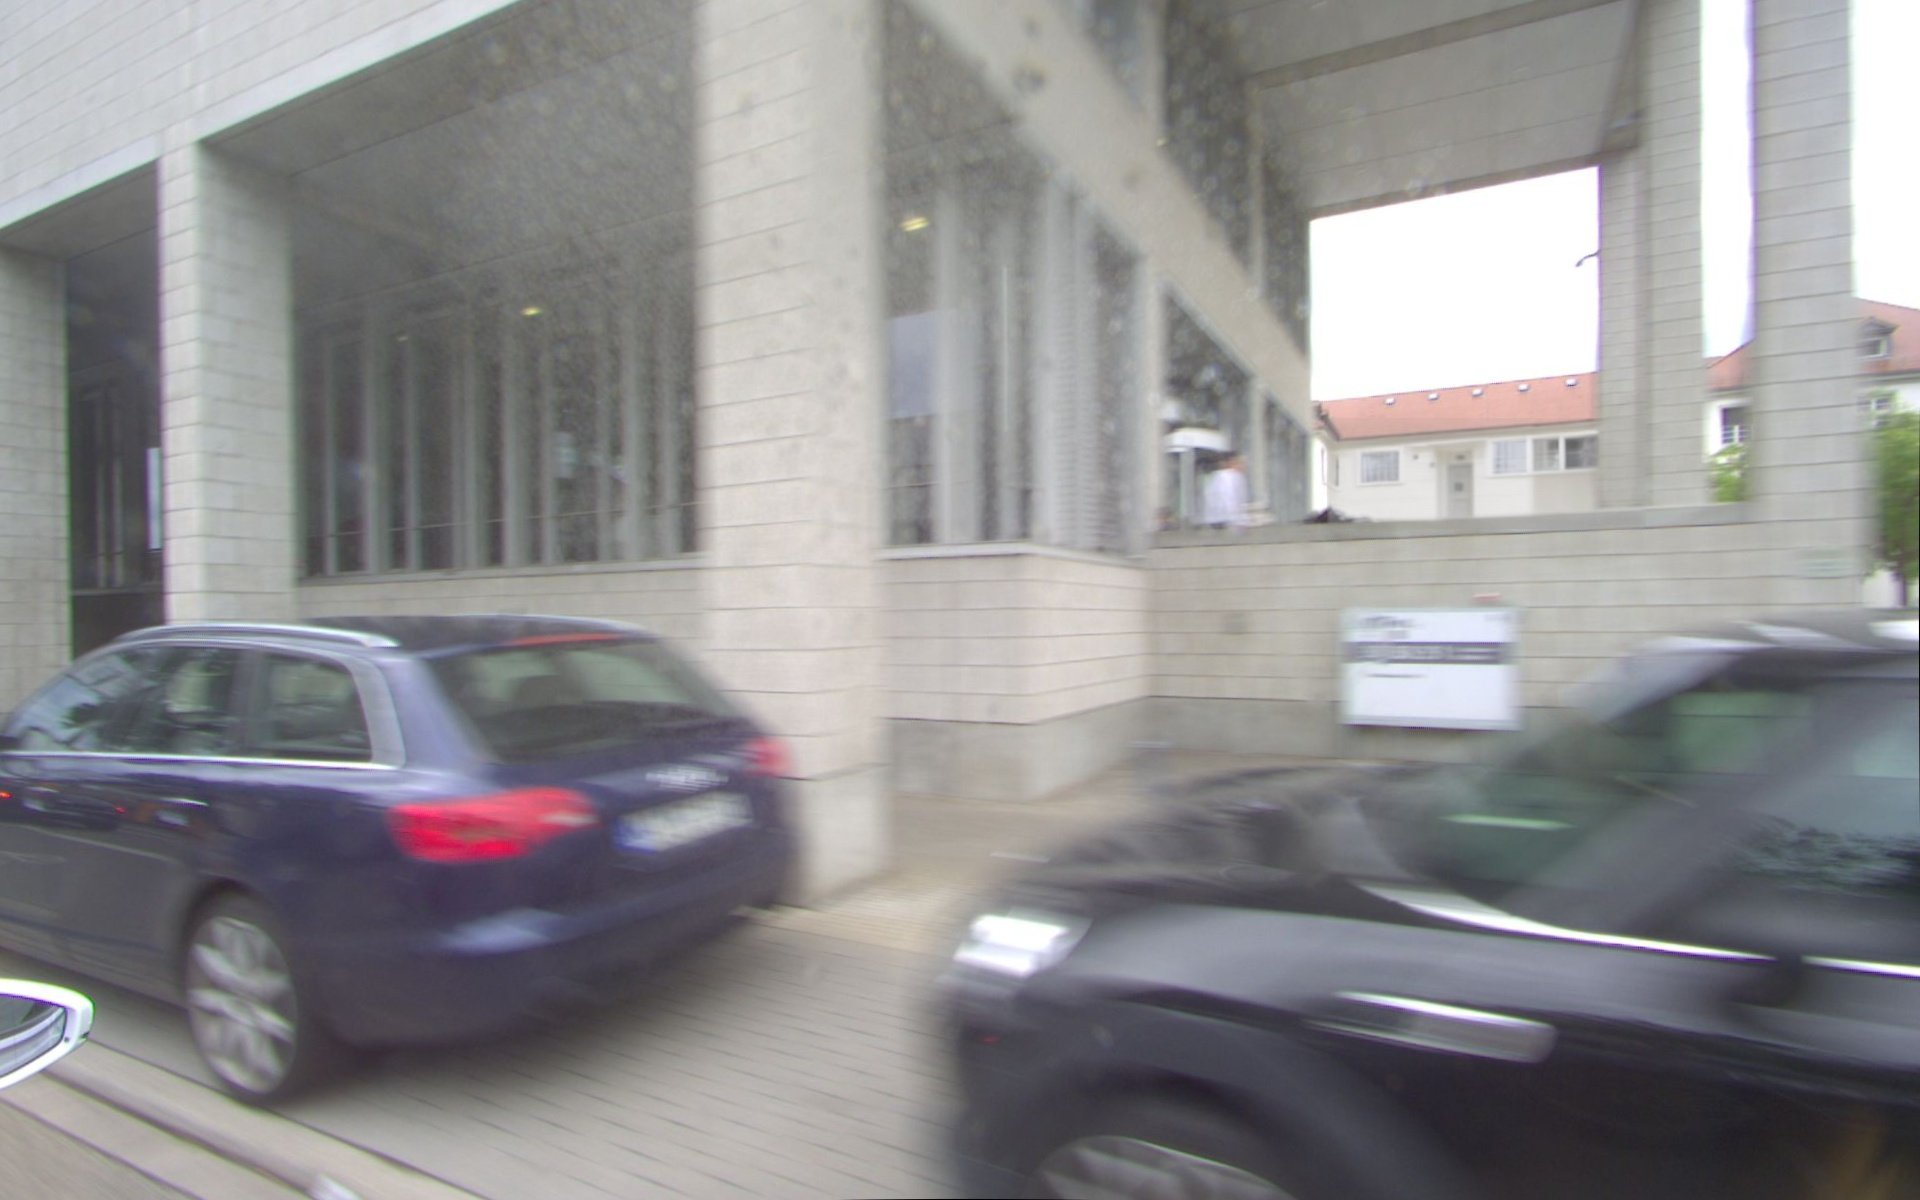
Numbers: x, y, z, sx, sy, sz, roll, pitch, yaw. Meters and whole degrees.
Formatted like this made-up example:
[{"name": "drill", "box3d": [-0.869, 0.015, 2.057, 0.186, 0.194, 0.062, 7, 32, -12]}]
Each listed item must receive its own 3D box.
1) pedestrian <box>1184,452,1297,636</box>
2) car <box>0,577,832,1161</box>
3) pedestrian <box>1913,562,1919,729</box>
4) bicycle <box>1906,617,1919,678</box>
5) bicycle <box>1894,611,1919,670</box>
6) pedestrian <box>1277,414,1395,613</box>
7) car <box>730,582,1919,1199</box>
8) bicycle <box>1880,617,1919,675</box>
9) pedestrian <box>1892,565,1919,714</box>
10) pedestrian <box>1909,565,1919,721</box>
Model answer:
[{"name": "pedestrian", "box3d": [2.710, -0.510, 9.687, 0.798, 1.680, 0.626, 2, 0, 44]}, {"name": "car", "box3d": [-3.149, 0.735, 4.554, 4.846, 1.471, 1.992, -1, -1, 28]}, {"name": "pedestrian", "box3d": [10.927, 0.503, 10.936, 0.610, 1.863, 0.591, 1, -3, 29]}, {"name": "bicycle", "box3d": [20.297, 0.983, 19.153, 3.060, 1.185, 0.745, 2, 0, 30]}, {"name": "bicycle", "box3d": [20.686, 0.864, 19.839, 3.060, 1.185, 0.745, 2, -1, 30]}, {"name": "pedestrian", "box3d": [3.412, -0.743, 9.088, 0.797, 1.680, 0.626, 2, 0, -37]}, {"name": "car", "box3d": [1.924, 0.698, 1.854, 4.449, 1.462, 1.816, -1, 1, 27]}, {"name": "bicycle", "box3d": [21.040, 1.005, 20.535, 3.060, 1.185, 0.745, 2, 0, 30]}, {"name": "pedestrian", "box3d": [11.980, 0.474, 12.139, 0.723, 1.808, 0.721, 0, 0, 14]}, {"name": "pedestrian", "box3d": [10.923, 0.472, 10.960, 0.594, 1.738, 0.776, 0, 0, 29]}]
